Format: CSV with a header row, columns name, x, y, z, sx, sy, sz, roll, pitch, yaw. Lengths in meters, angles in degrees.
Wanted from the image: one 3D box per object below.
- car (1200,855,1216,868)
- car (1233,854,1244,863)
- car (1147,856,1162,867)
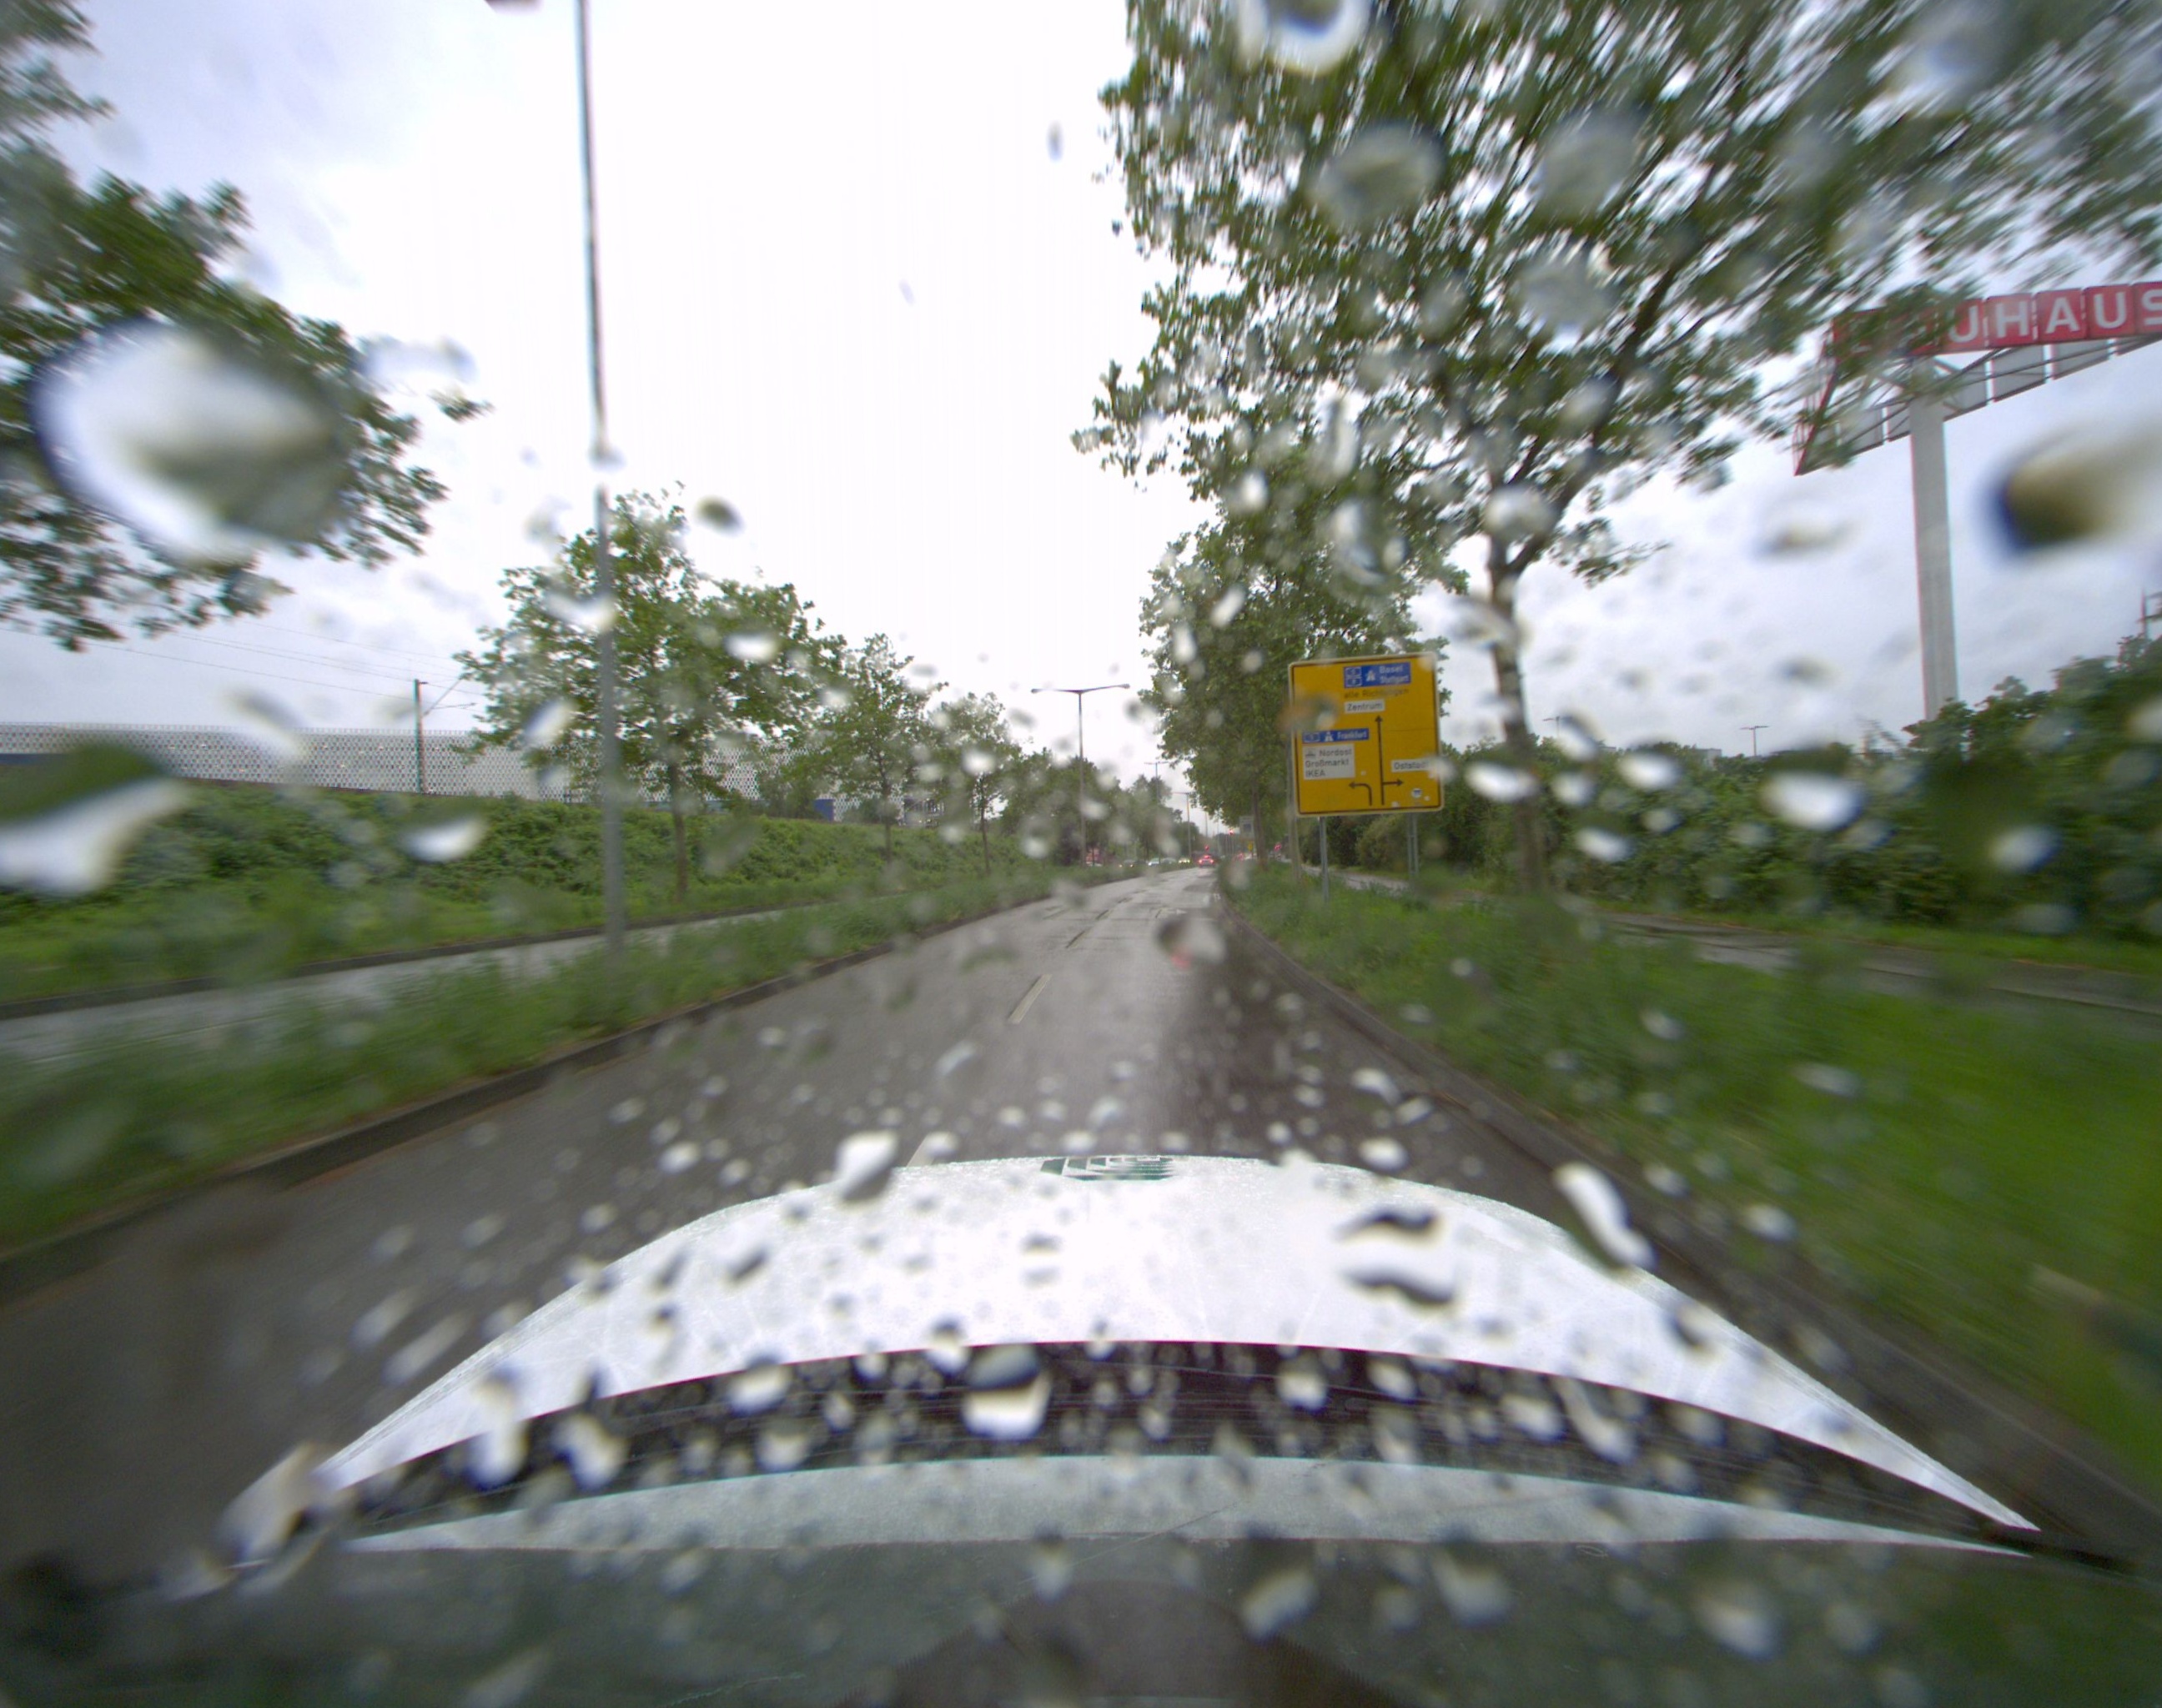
name,x,y,z,sx,sy,sz,roll,pitch,yaw
car,15.585,0.906,99.898,1.678,1.433,4.590,-2,-1,13
car,26.756,0.714,138.391,1.784,1.537,4.402,-1,-1,13
car,10.773,1.118,118.454,1.691,1.495,4.218,-1,0,11
